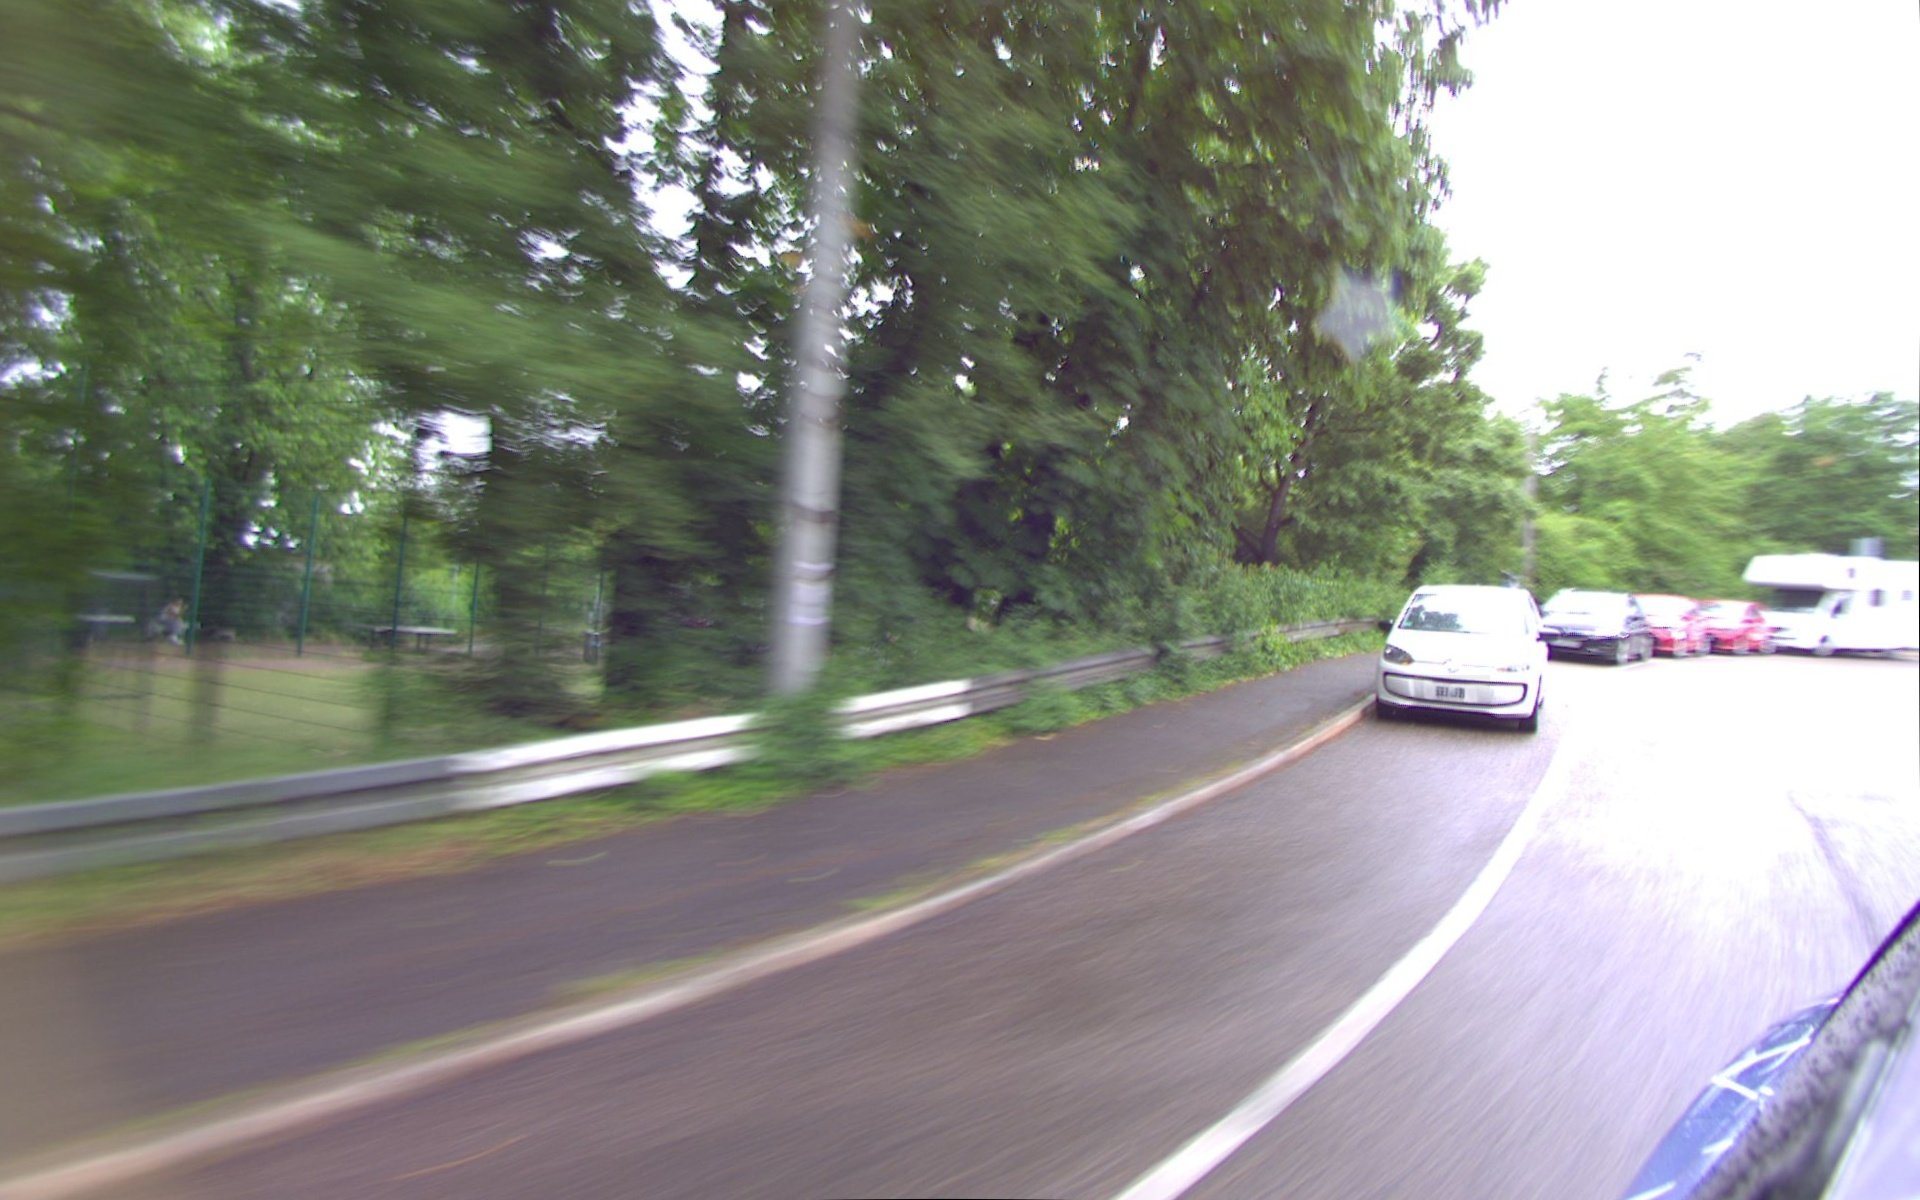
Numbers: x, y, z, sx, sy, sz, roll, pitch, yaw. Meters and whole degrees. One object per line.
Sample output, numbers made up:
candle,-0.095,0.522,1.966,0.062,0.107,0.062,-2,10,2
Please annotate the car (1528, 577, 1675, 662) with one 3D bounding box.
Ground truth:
car,13.730,0.388,21.535,1.719,1.532,4.522,5,3,44

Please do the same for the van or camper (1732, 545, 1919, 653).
van or camper,26.967,-0.021,30.708,6.148,2.980,2.404,2,2,-18

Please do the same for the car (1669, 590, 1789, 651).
car,21.388,0.570,28.103,3.736,1.478,1.646,1,3,-38

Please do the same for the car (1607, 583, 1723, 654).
car,17.530,0.462,25.106,3.613,1.532,1.561,2,2,-43

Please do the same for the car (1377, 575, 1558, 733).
car,6.052,0.494,11.878,1.578,1.520,3.626,2,2,32

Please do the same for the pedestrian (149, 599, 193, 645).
pedestrian,-21.075,0.577,27.032,0.803,1.200,0.623,2,0,27
